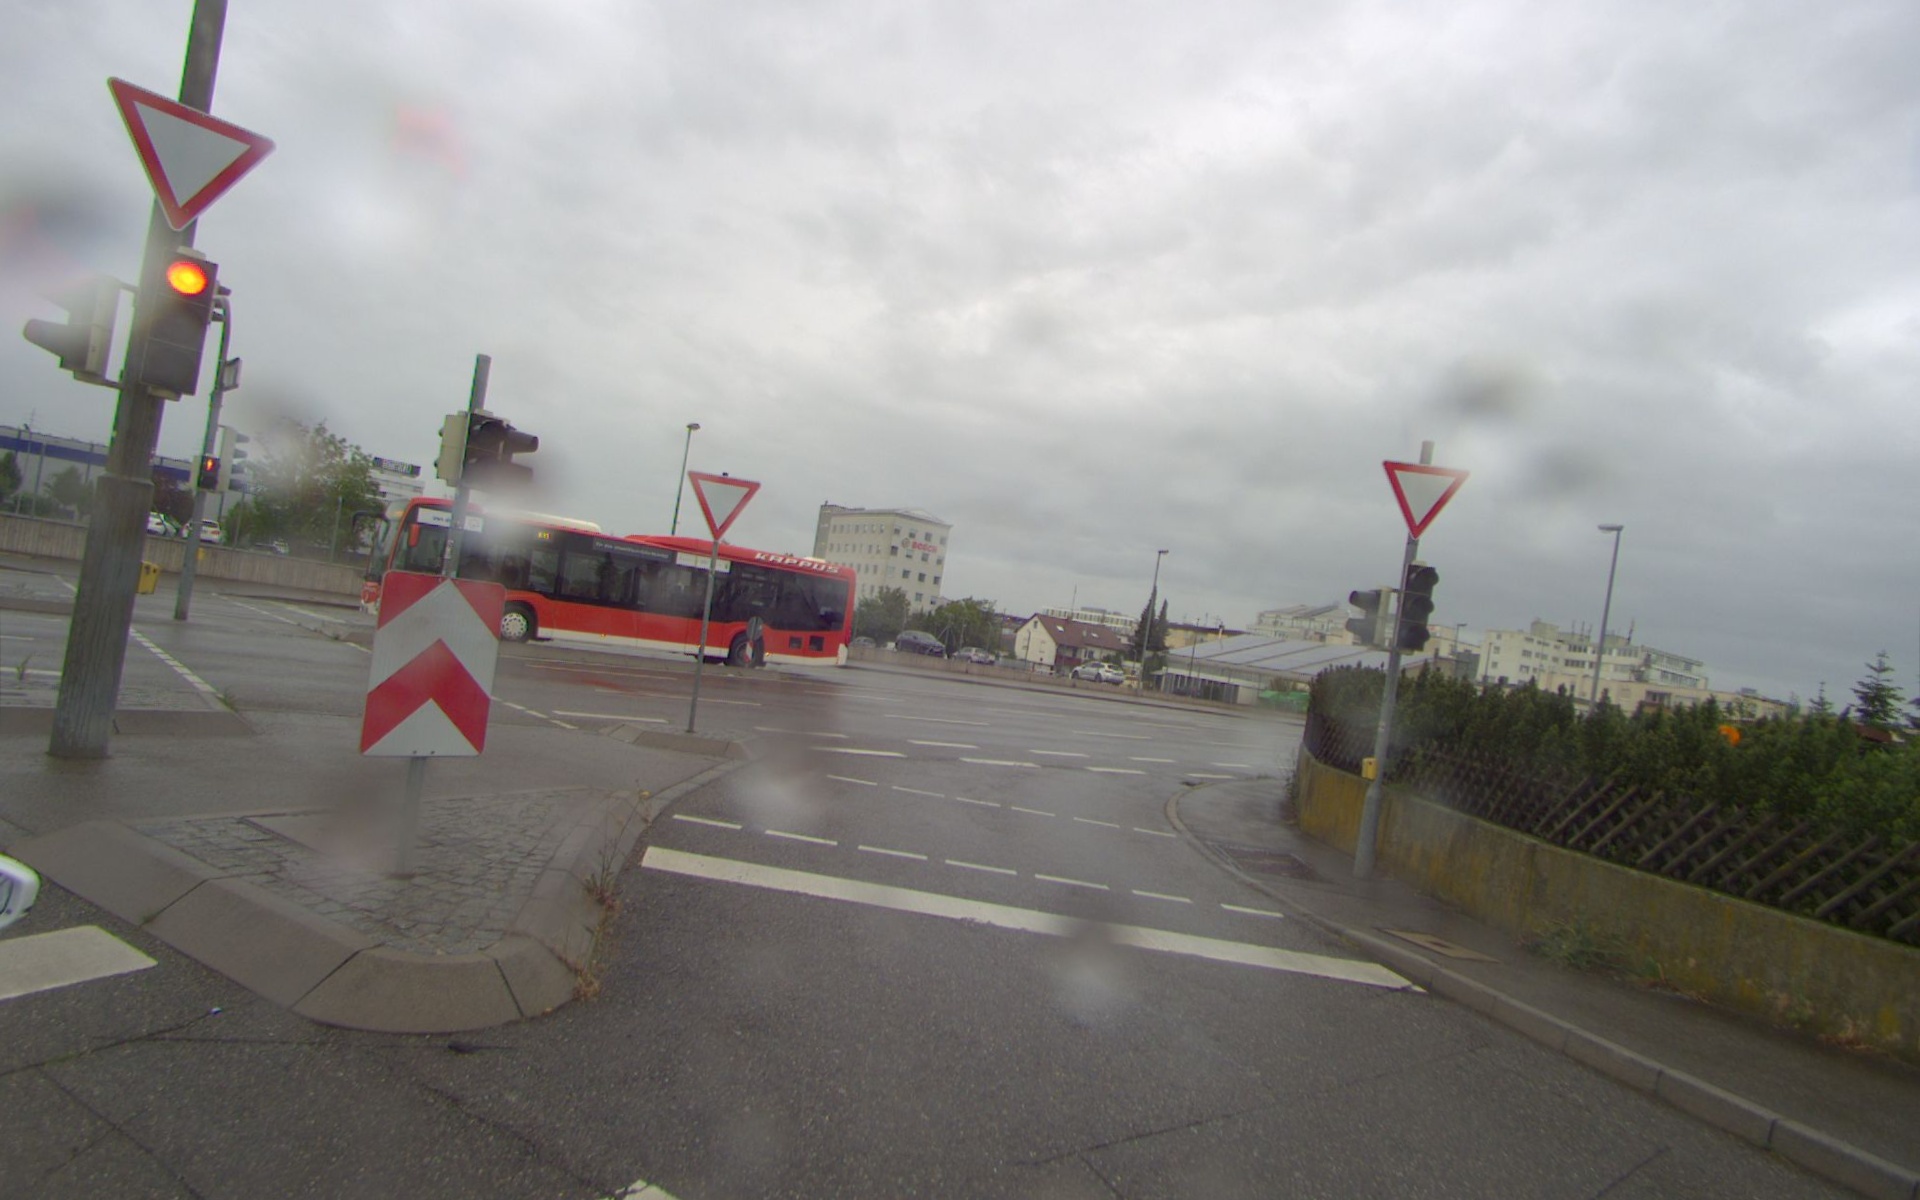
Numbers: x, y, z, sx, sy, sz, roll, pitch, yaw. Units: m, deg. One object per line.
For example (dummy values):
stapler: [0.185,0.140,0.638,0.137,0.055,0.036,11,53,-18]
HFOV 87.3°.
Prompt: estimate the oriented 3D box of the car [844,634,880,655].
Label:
car: [-9.809,4.426,100.621,1.979,1.495,3.971,9,-2,-29]

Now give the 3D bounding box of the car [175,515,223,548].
car: [-43.897,-3.955,58.031,1.986,1.495,3.958,10,-2,-38]

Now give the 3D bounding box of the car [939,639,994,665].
car: [0.535,4.257,82.234,3.951,1.494,1.989,9,-2,-24]

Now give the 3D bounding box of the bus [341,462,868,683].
bus: [-8.382,-0.333,25.860,12.245,3.357,3.040,12,-3,-41]

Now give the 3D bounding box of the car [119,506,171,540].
car: [-45.616,-4.281,56.363,1.985,1.495,3.958,10,-2,-38]

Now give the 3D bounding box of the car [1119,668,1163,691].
car: [17.982,7.905,99.996,3.760,1.771,1.887,9,-2,-29]

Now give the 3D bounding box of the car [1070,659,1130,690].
car: [9.725,5.167,70.064,1.979,1.495,3.971,9,-2,-29]

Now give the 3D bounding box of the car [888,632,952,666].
car: [-2.482,2.997,61.964,1.983,1.495,3.964,10,-2,-34]
